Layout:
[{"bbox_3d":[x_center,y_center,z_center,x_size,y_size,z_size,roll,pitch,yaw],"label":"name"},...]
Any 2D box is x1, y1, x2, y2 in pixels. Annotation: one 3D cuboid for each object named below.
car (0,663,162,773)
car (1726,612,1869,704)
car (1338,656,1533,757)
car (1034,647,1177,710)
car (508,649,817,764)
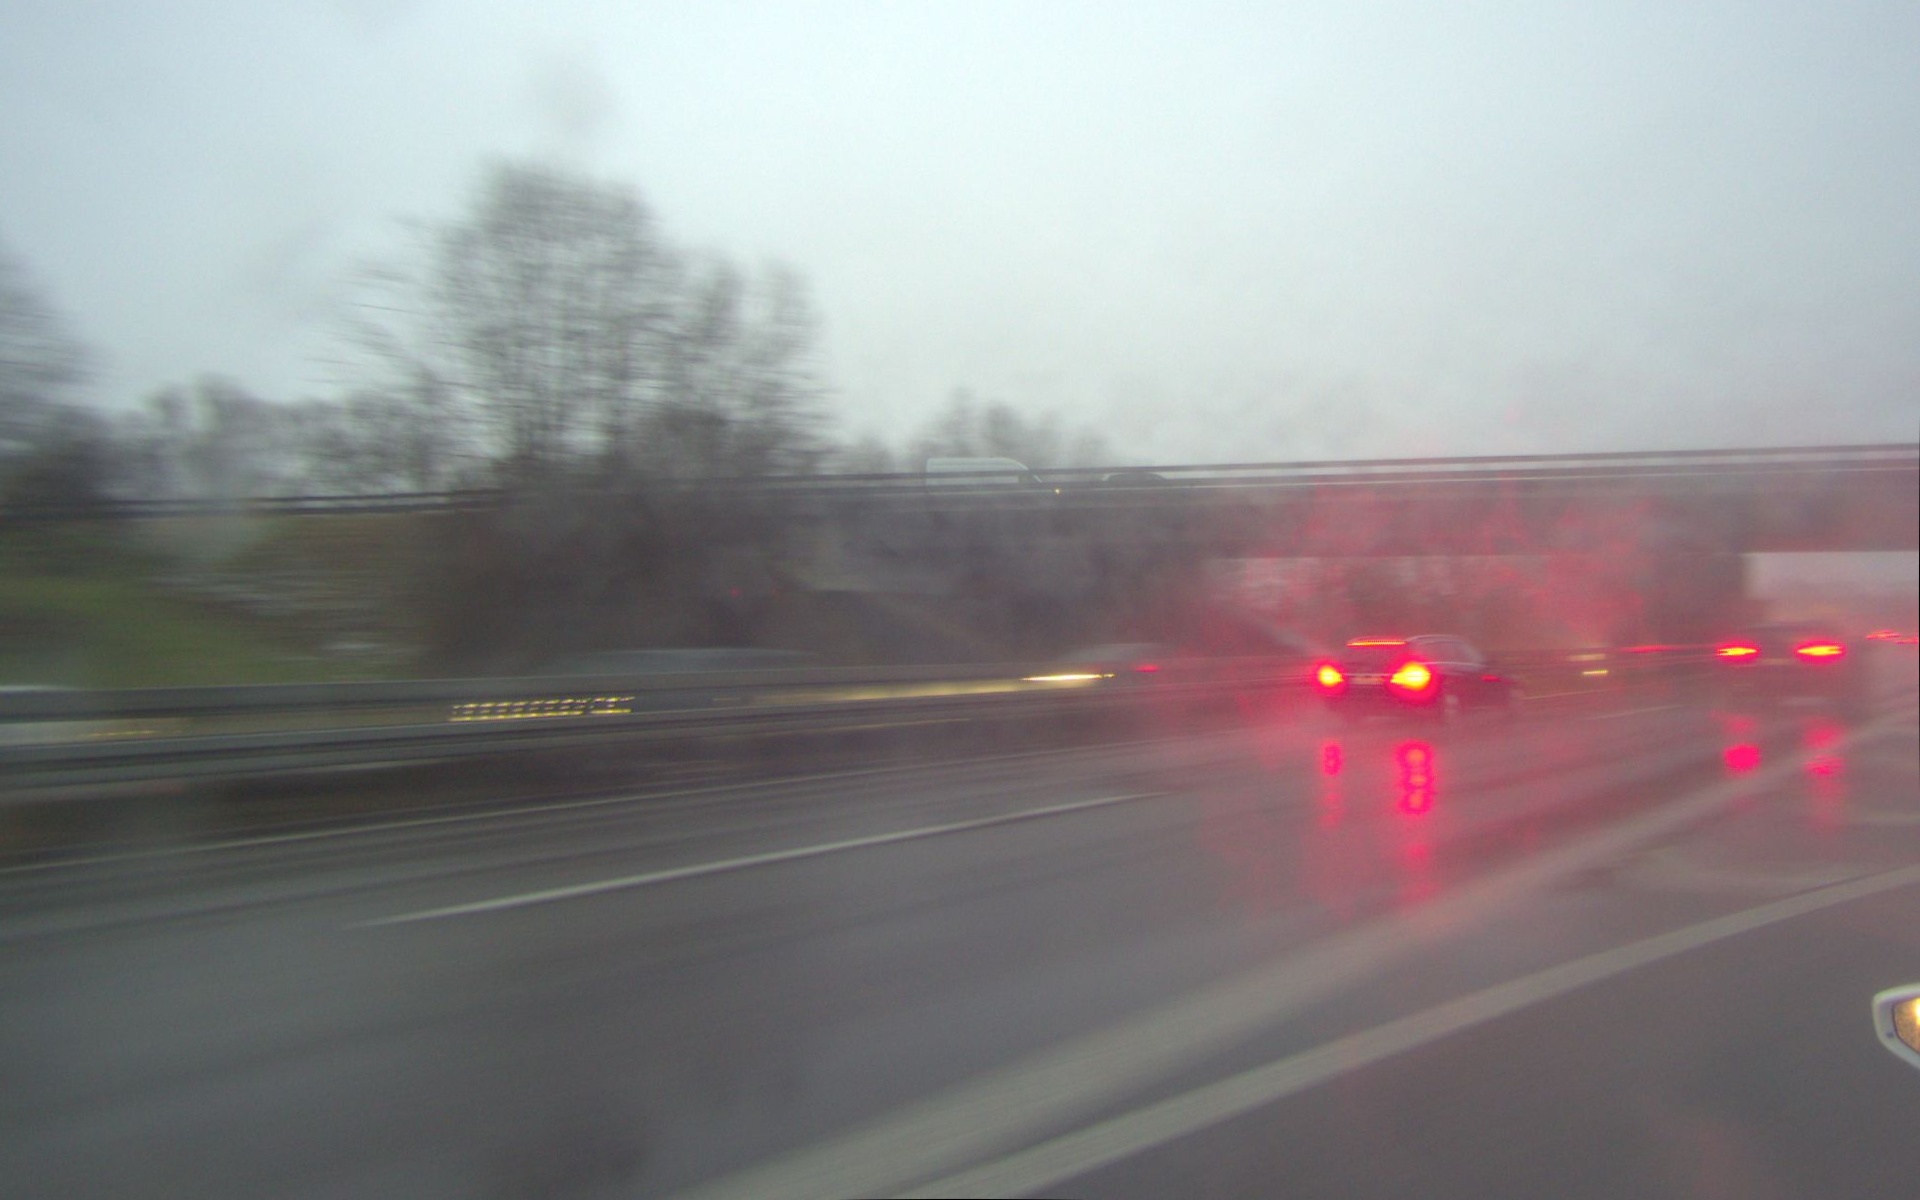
[{"bbox_3d":[-15.579,1.889,16.072,4.362,1.590,1.740,1,-2,-40],"label":"car"},{"bbox_3d":[17.334,1.183,20.730,1.973,1.686,3.977,-5,-5,43],"label":"car"},{"bbox_3d":[8.415,1.774,17.585,1.779,1.486,4.388,-5,-5,43],"label":"car"},{"bbox_3d":[4.202,2.180,28.659,4.160,1.590,1.739,2,-2,-41],"label":"car"},{"bbox_3d":[-4.830,1.642,16.675,4.633,1.590,1.742,1,-2,-37],"label":"car"}]
